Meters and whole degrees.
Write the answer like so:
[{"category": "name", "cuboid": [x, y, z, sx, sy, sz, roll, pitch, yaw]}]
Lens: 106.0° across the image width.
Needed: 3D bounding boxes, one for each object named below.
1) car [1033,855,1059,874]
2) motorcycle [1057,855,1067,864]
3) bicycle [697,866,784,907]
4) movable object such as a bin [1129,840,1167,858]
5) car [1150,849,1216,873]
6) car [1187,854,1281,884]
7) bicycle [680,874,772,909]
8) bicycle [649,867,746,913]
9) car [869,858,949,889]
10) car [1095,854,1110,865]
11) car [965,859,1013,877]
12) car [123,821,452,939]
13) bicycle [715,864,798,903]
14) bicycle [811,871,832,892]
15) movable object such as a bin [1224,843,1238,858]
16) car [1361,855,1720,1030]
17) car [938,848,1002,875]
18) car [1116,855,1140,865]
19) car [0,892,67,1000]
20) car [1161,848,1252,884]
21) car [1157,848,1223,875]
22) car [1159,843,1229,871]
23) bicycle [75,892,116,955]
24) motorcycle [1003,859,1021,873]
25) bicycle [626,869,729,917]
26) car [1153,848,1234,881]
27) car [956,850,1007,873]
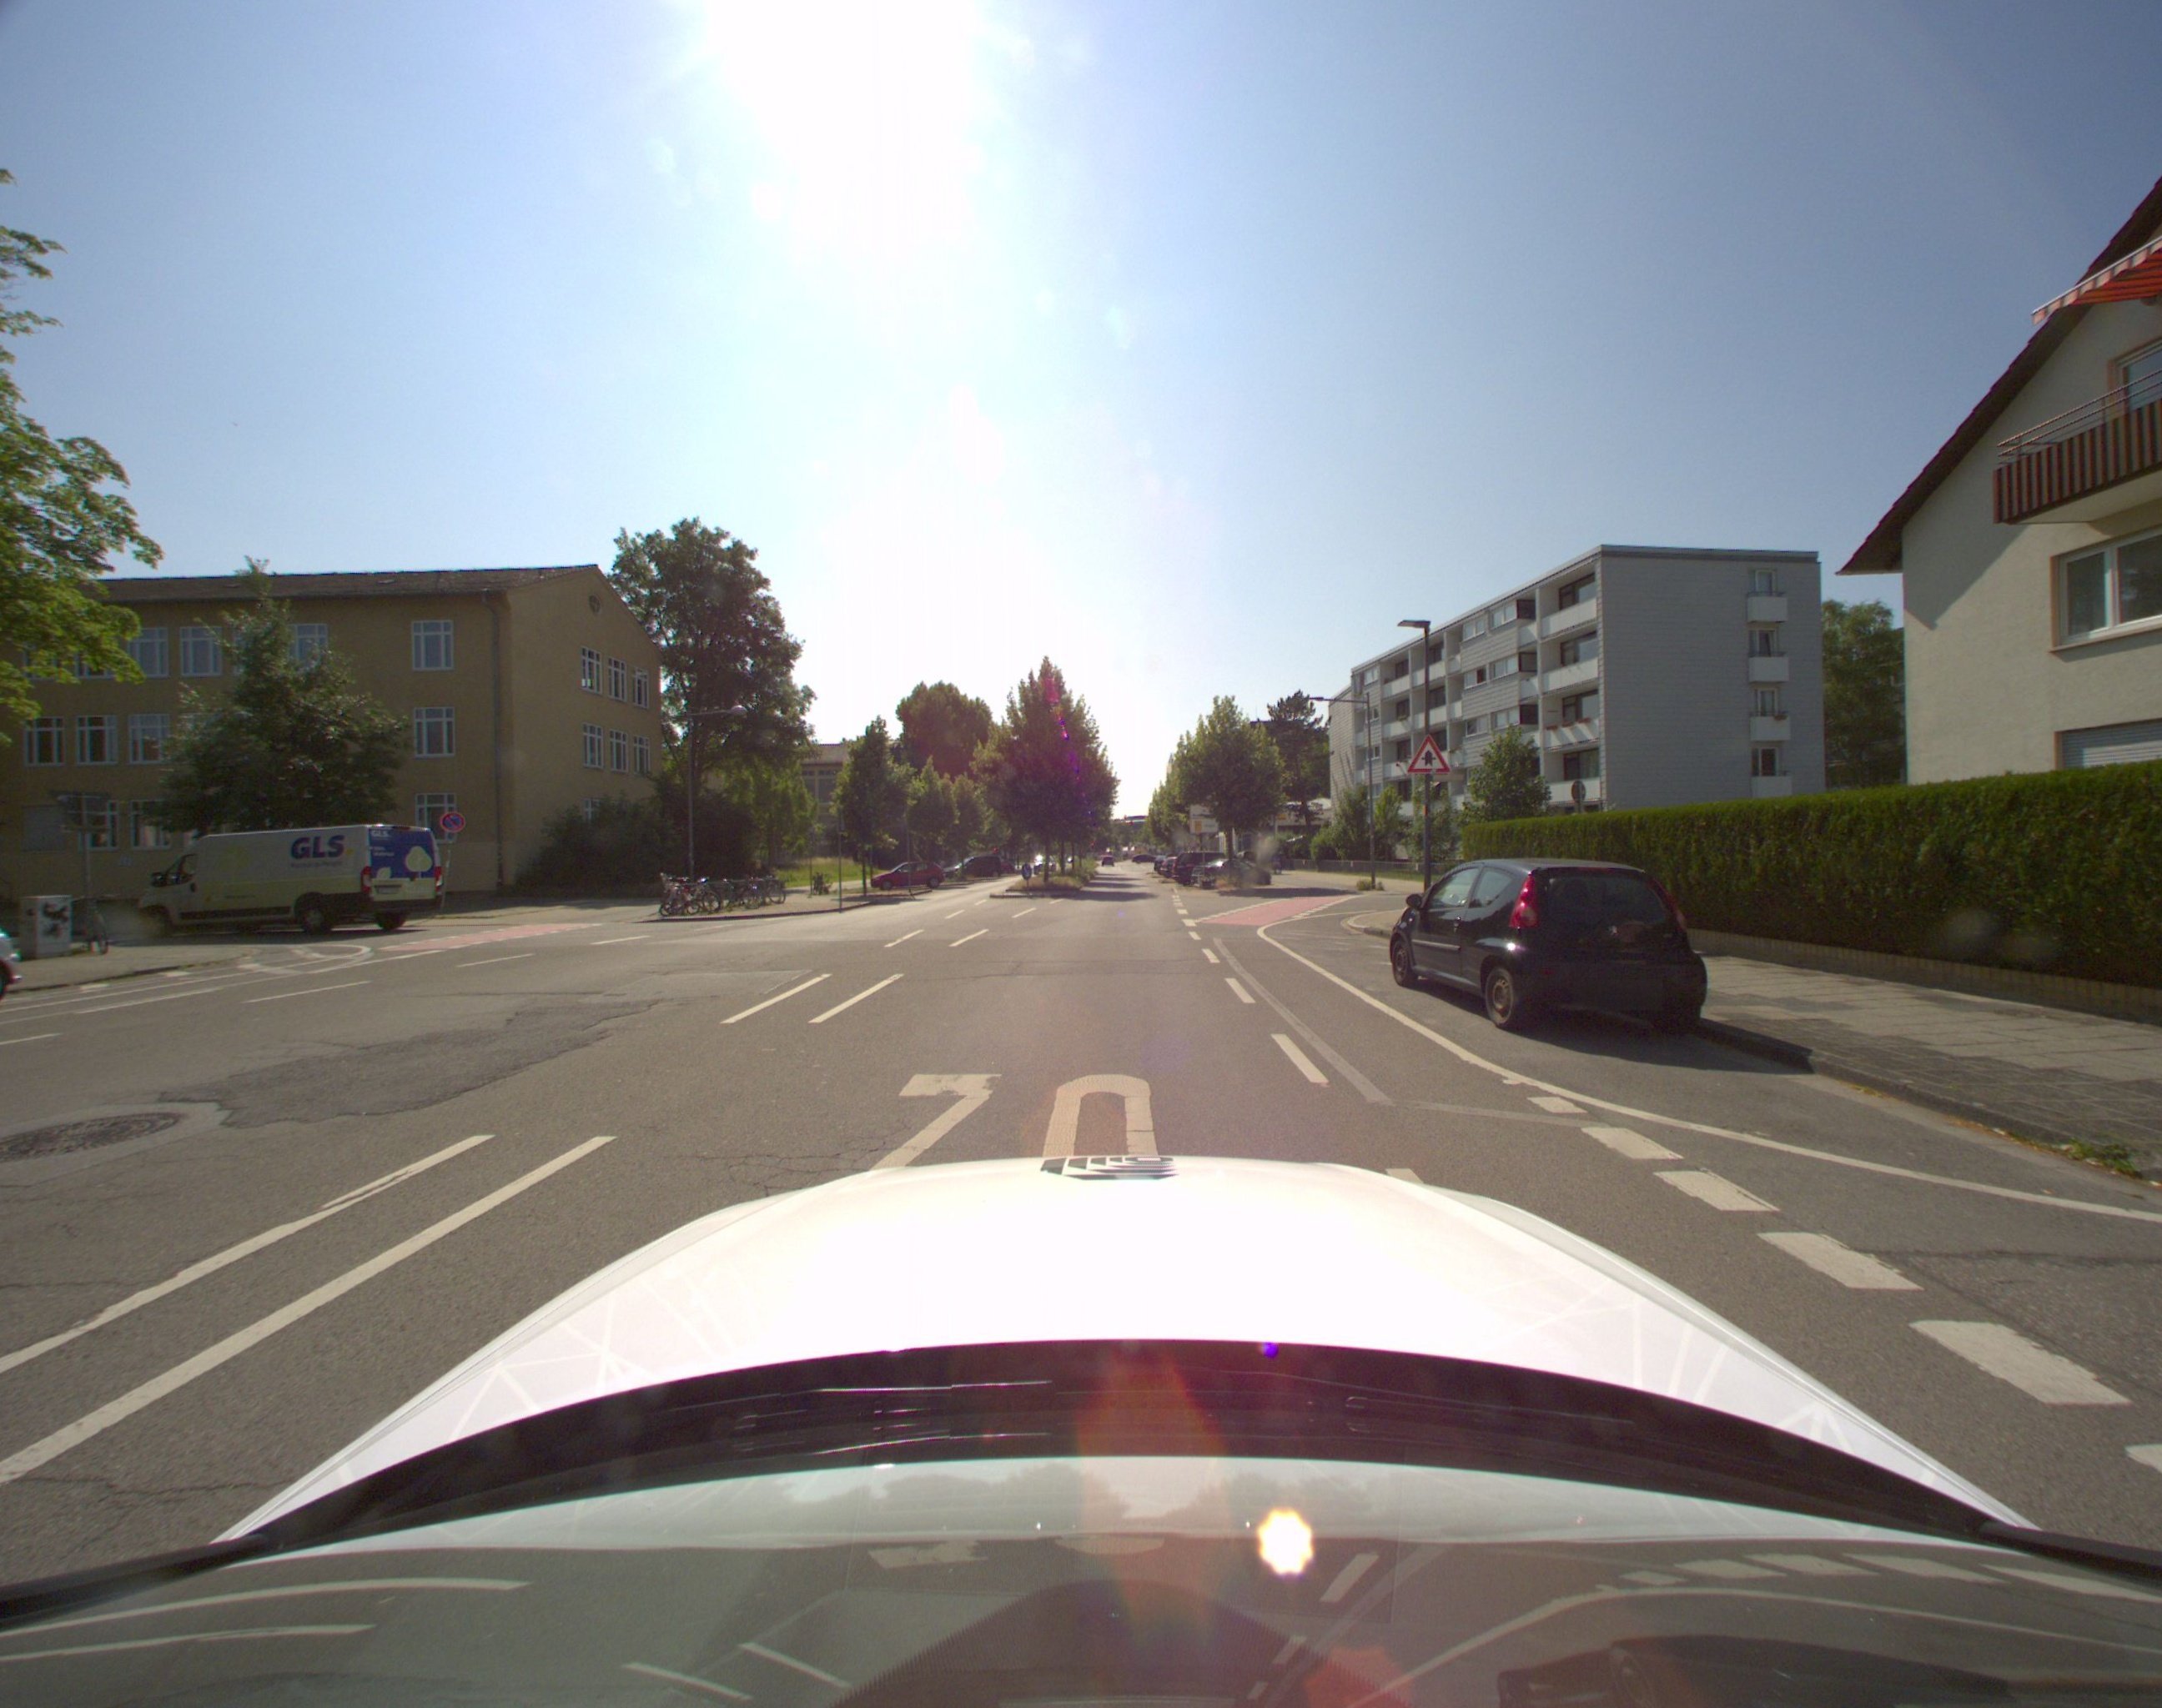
[{"category": "car", "cuboid": [-3.005, 0.925, 70.497, 1.734, 1.547, 4.076, -2, -1, 3]}, {"category": "motorcycle", "cuboid": [-2.133, 0.586, 92.215, 0.919, 0.992, 2.237, -1, 0, 4]}, {"category": "bicycle", "cuboid": [-11.285, 1.068, 27.018, 2.507, 1.256, 0.739, -2, 0, -1]}, {"category": "movable object such as a bin", "cuboid": [17.643, -1.227, 214.377, 9.632, 4.550, 3.167, -1, 0, 4]}, {"category": "car", "cuboid": [7.540, 0.481, 60.133, 4.762, 1.660, 1.735, -1, 0, -32]}, {"category": "car", "cuboid": [7.101, 0.681, 37.834, 4.005, 1.236, 1.739, -1, 0, -24]}, {"category": "bicycle", "cuboid": [-11.217, 1.173, 25.757, 2.536, 0.987, 0.739, -2, 0, -1]}, {"category": "bicycle", "cuboid": [-11.562, 1.085, 24.594, 2.536, 1.239, 0.739, -2, 0, -1]}, {"category": "car", "cuboid": [-9.356, 1.037, 44.251, 3.999, 1.466, 1.987, -2, 0, -19]}, {"category": "car", "cuboid": [2.947, 0.733, 112.201, 1.987, 1.398, 3.999, -1, 0, -1]}, {"category": "car", "cuboid": [-8.000, 1.220, 71.062, 3.857, 1.423, 1.698, -1, -1, -34]}, {"category": "car", "cuboid": [-19.472, 0.624, 20.179, 6.087, 2.524, 2.286, -2, 0, 4]}, {"category": "bicycle", "cuboid": [-11.226, 1.021, 28.244, 2.536, 1.256, 0.739, -1, 0, -1]}, {"category": "bicycle", "cuboid": [-11.471, 1.204, 36.059, 0.519, 0.903, 1.269, -2, -1, -2]}, {"category": "movable object such as a bin", "cuboid": [16.915, -0.418, 91.943, 1.303, 1.592, 1.395, -4, 0, 0]}, {"category": "car", "cuboid": [4.359, 0.716, 8.512, 1.610, 1.390, 4.002, 0, 0, 2]}, {"category": "car", "cuboid": [-8.195, 0.562, 60.239, 4.207, 1.816, 1.982, -2, 1, -36]}, {"category": "car", "cuboid": [7.401, 0.932, 127.914, 3.591, 1.377, 1.637, -1, 0, 0]}, {"category": "car", "cuboid": [-13.720, 1.162, 8.370, 1.717, 1.266, 3.993, -2, 0, -5]}, {"category": "car", "cuboid": [6.294, 0.585, 40.717, 4.134, 1.640, 2.024, -1, 0, -31]}, {"category": "car", "cuboid": [7.224, 0.499, 54.023, 3.987, 1.640, 1.747, -1, 0, -10]}, {"category": "car", "cuboid": [7.076, 0.179, 51.091, 4.000, 1.640, 1.741, -1, 1, -20]}, {"category": "bicycle", "cuboid": [-18.867, 1.304, 15.609, 1.694, 1.081, 0.380, -1, 0, 43]}, {"category": "motorcycle", "cuboid": [-6.967, 1.209, 82.087, 1.842, 1.284, 0.692, -1, 0, -5]}, {"category": "bicycle", "cuboid": [-11.654, 1.110, 23.581, 2.536, 1.256, 0.739, -2, 0, -1]}, {"category": "car", "cuboid": [6.027, 0.564, 43.527, 4.014, 1.640, 1.861, -1, -3, -32]}, {"category": "car", "cuboid": [-8.082, 0.583, 66.291, 3.779, 1.772, 1.805, -1, -1, -24]}]
